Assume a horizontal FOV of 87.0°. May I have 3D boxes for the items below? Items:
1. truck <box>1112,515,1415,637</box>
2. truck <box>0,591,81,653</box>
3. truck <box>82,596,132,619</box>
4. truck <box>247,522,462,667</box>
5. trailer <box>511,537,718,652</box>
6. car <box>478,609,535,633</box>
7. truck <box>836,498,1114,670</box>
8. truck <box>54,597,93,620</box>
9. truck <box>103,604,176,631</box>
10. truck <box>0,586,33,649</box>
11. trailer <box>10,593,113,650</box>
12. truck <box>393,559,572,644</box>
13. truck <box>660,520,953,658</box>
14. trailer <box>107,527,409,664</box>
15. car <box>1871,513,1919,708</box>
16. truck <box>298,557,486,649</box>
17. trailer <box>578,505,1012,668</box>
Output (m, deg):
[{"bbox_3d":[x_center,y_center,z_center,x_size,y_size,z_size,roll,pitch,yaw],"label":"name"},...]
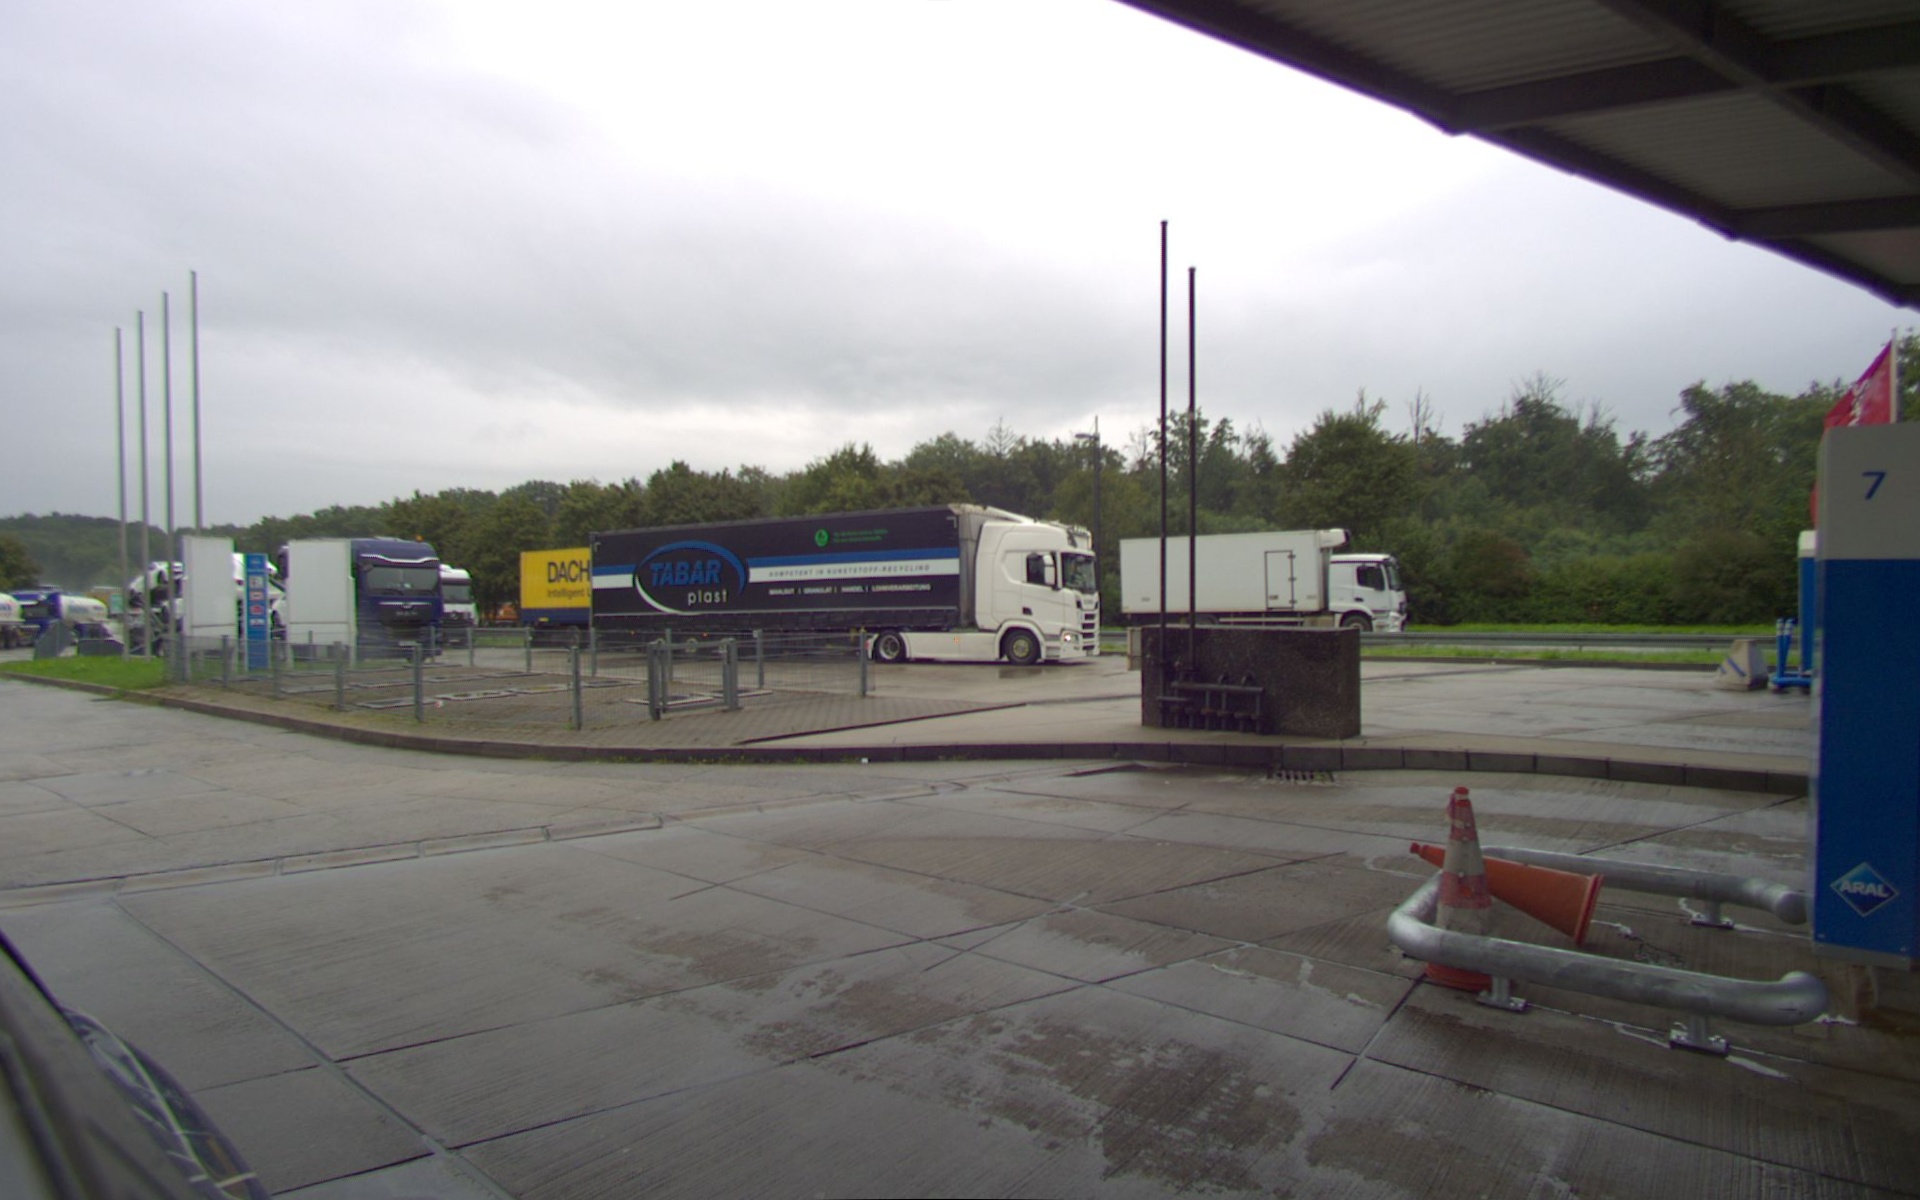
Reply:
[{"bbox_3d":[11.099,-0.740,37.679,10.433,4.063,2.961,-1,0,30],"label":"truck"},{"bbox_3d":[-59.442,1.361,64.992,3.000,3.795,6.486,-1,0,-27],"label":"truck"},{"bbox_3d":[-136.006,1.252,161.286,11.949,3.591,3.213,-1,0,36],"label":"truck"},{"bbox_3d":[-19.007,-0.118,31.622,7.244,4.063,2.957,-1,0,34],"label":"truck"},{"bbox_3d":[-13.561,-0.171,39.290,8.833,4.063,2.743,-1,0,33],"label":"trailer"},{"bbox_3d":[-42.712,1.991,95.280,5.612,2.192,2.393,-1,-1,35],"label":"car"},{"bbox_3d":[0.377,-0.347,26.686,6.704,4.063,2.966,-1,0,25],"label":"truck"},{"bbox_3d":[-138.418,1.301,157.953,9.306,3.504,2.588,-1,0,36],"label":"truck"},{"bbox_3d":[-114.132,2.398,140.660,16.515,3.591,3.215,-1,0,34],"label":"truck"},{"bbox_3d":[-55.575,1.010,55.013,3.196,3.591,12.013,-1,0,-19],"label":"truck"},{"bbox_3d":[-62.288,1.424,70.478,2.854,3.666,10.605,-1,0,-28],"label":"trailer"},{"bbox_3d":[-24.797,0.135,52.275,10.433,4.063,2.961,-1,0,30],"label":"truck"},{"bbox_3d":[-5.405,-0.275,33.957,10.608,4.063,2.743,-1,0,33],"label":"truck"},{"bbox_3d":[-25.432,-0.062,35.924,16.563,4.063,2.957,-1,0,34],"label":"trailer"},{"bbox_3d":[14.831,0.110,12.344,5.272,2.482,2.298,-1,-2,37],"label":"car"},{"bbox_3d":[-27.317,0.169,48.446,10.433,4.063,2.961,-1,0,30],"label":"truck"},{"bbox_3d":[-5.298,-0.274,29.823,13.747,4.063,2.962,-1,0,29],"label":"trailer"}]
